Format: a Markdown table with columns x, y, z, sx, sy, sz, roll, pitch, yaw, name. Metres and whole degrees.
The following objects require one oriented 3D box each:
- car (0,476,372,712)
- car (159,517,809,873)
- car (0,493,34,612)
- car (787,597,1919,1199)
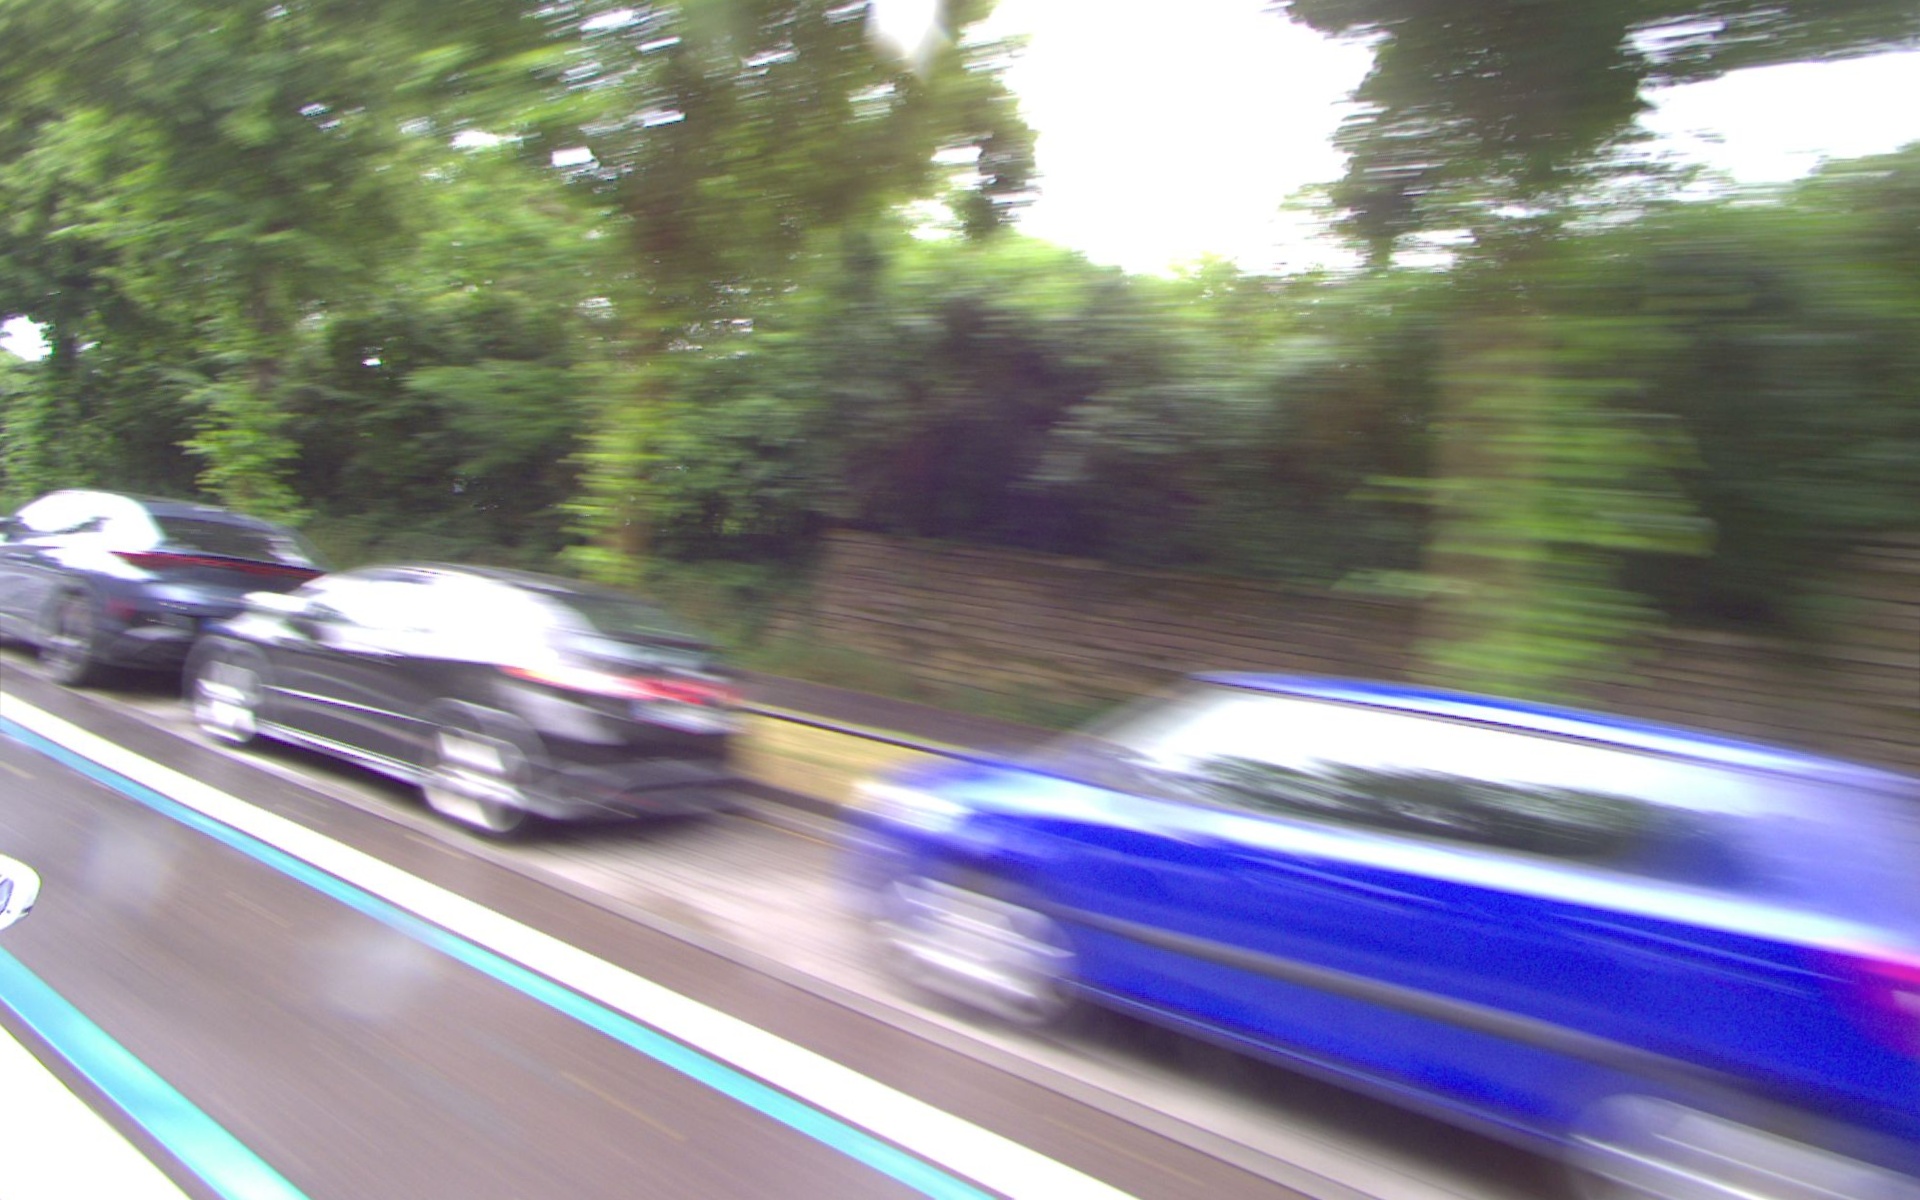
| x | y | z | sx | sy | sz | roll | pitch | yaw | name |
| --- | --- | --- | --- | --- | --- | --- | --- | --- | --- |
| -7.629 | -0.138 | 9.301 | 4.423 | 1.607 | 1.760 | 7 | -2 | 32 | car |
| -3.234 | 0.476 | 6.678 | 4.074 | 1.472 | 1.691 | 7 | -2 | 29 | car |
| -14.117 | -0.882 | 13.222 | 4.096 | 1.469 | 1.690 | 7 | -2 | 32 | car |
| 1.397 | 1.042 | 3.962 | 3.771 | 1.531 | 1.690 | 7 | -2 | 32 | car |
